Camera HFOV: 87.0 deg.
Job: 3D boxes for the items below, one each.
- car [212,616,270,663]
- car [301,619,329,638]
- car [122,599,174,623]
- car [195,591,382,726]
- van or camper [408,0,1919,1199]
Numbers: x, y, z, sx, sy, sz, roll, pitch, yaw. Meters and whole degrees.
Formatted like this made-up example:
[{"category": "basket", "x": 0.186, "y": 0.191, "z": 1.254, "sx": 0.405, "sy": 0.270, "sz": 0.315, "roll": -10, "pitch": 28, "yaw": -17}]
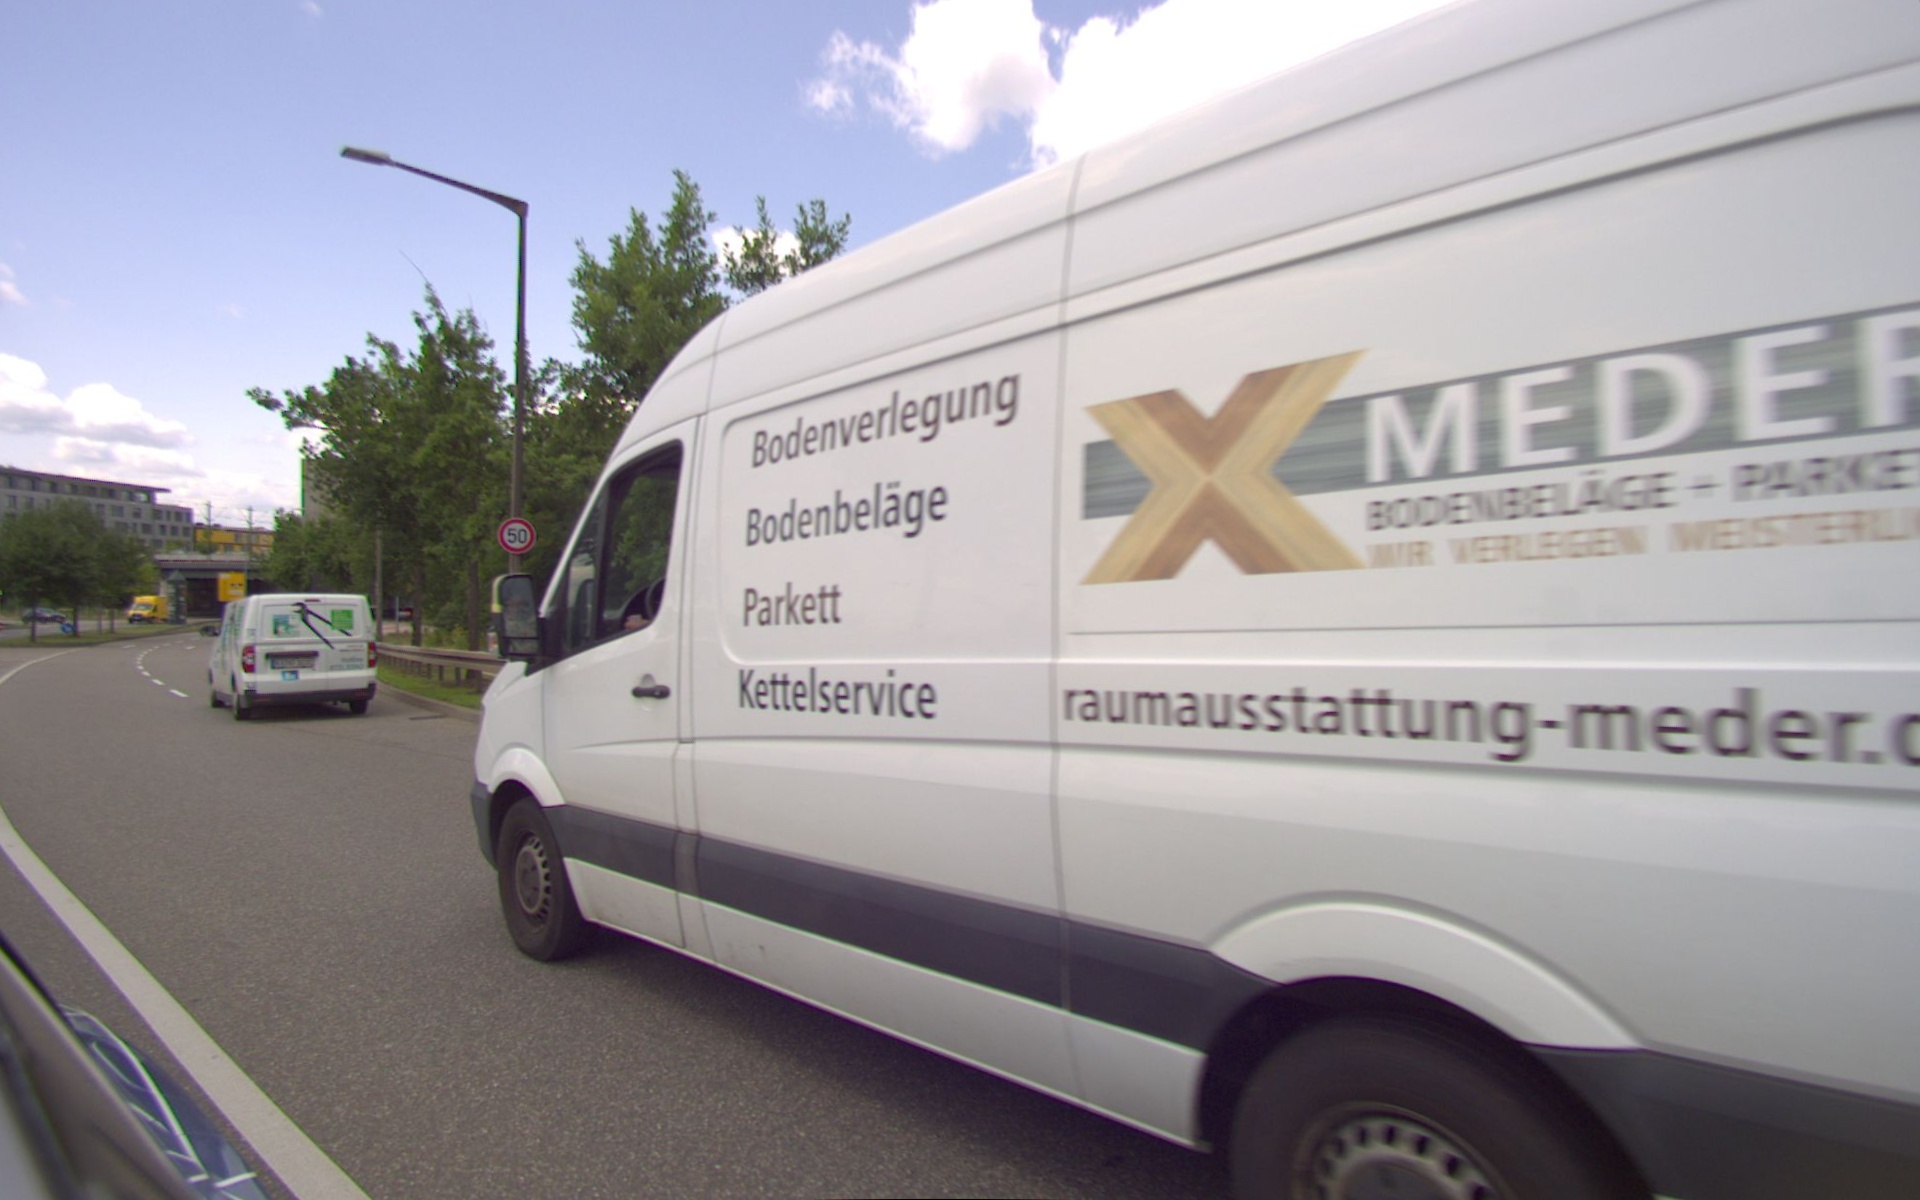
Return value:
[{"category": "car", "x": -30.697, "y": 1.674, "z": 43.177, "sx": 1.752, "sy": 1.877, "sz": 4.133, "roll": 2, "pitch": -3, "yaw": -39}, {"category": "car", "x": -71.745, "y": 3.139, "z": 112.638, "sx": 1.945, "sy": 2.029, "sz": 4.013, "roll": 3, "pitch": -2, "yaw": -24}, {"category": "car", "x": -84.138, "y": 1.116, "z": 104.912, "sx": 1.968, "sy": 2.337, "sz": 4.895, "roll": -2, "pitch": 1, "yaw": -8}, {"category": "car", "x": -11.207, "y": 0.886, "z": 16.709, "sx": 1.754, "sy": 1.881, "sz": 5.272, "roll": 1, "pitch": -2, "yaw": -43}, {"category": "van or camper", "x": 0.225, "y": 0.150, "z": 3.500, "sx": 5.981, "sy": 2.601, "sz": 1.972, "roll": -2, "pitch": -1, "yaw": 43}]
